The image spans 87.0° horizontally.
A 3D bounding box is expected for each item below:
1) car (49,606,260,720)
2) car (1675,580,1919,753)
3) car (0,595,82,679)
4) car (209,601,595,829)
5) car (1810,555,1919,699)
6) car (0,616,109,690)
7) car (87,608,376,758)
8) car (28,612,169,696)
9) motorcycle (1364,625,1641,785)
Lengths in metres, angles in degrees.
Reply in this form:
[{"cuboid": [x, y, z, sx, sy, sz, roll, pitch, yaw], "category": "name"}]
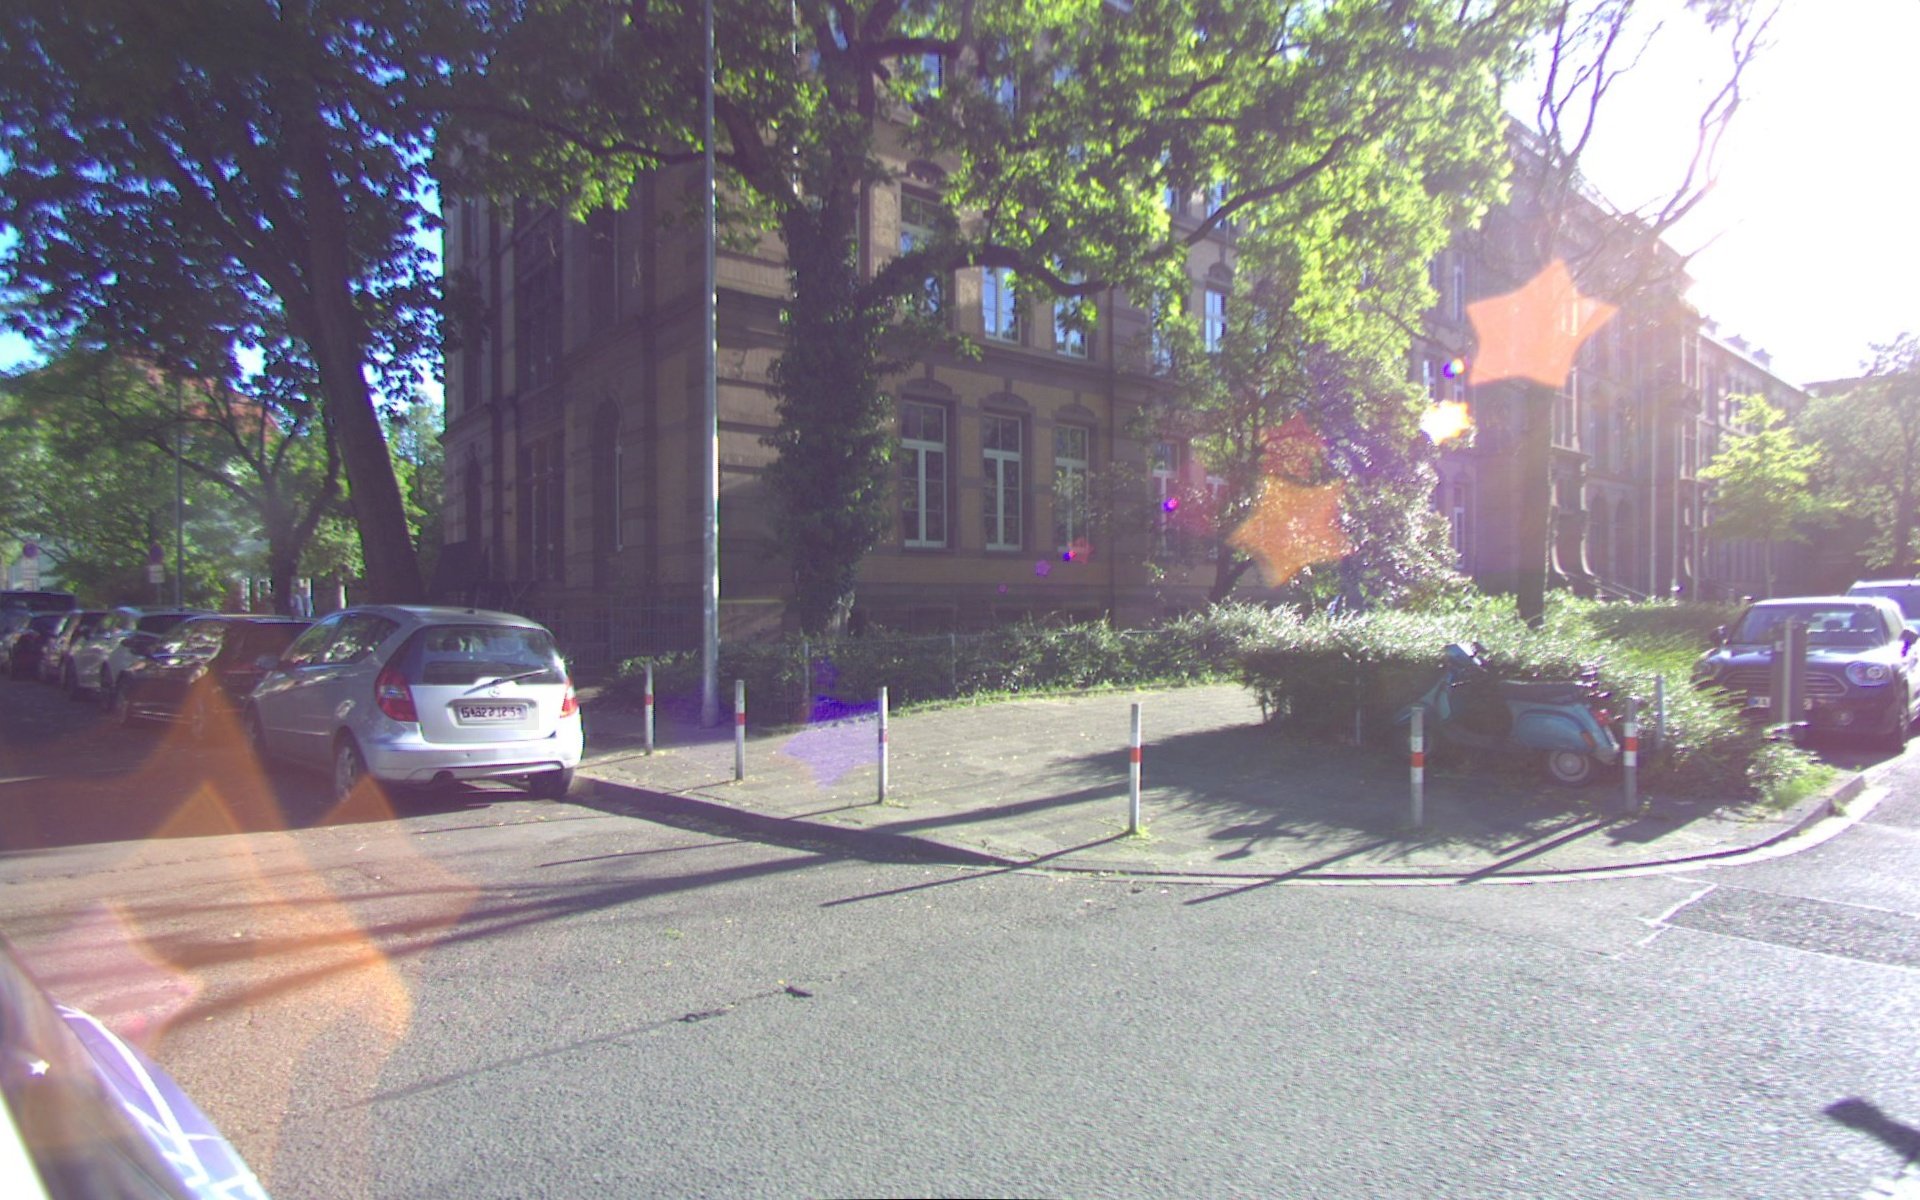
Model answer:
[{"cuboid": [-12.575, 0.908, 15.726, 3.997, 1.545, 1.770, -1, -3, 40], "category": "car"}, {"cuboid": [9.722, 0.588, 11.376, 4.081, 1.587, 1.887, -1, 0, -42], "category": "car"}, {"cuboid": [-24.365, 0.912, 26.052, 5.040, 1.972, 1.972, -1, -2, 42], "category": "car"}, {"cuboid": [-5.054, 0.829, 8.948, 3.950, 1.570, 1.688, 0, -2, 41], "category": "car"}, {"cuboid": [15.155, 0.380, 15.900, 4.577, 2.029, 2.003, 0, -2, -41], "category": "car"}, {"cuboid": [-20.290, 1.104, 22.377, 3.843, 1.475, 1.708, -1, -1, 41], "category": "car"}, {"cuboid": [-8.899, 0.907, 12.266, 3.991, 1.475, 1.567, 1, -3, 35], "category": "car"}, {"cuboid": [-16.535, 0.970, 19.382, 3.309, 1.475, 1.603, -1, -1, 41], "category": "car"}, {"cuboid": [4.301, 0.774, 8.168, 0.536, 1.110, 1.899, -1, 0, -39], "category": "motorcycle"}]
